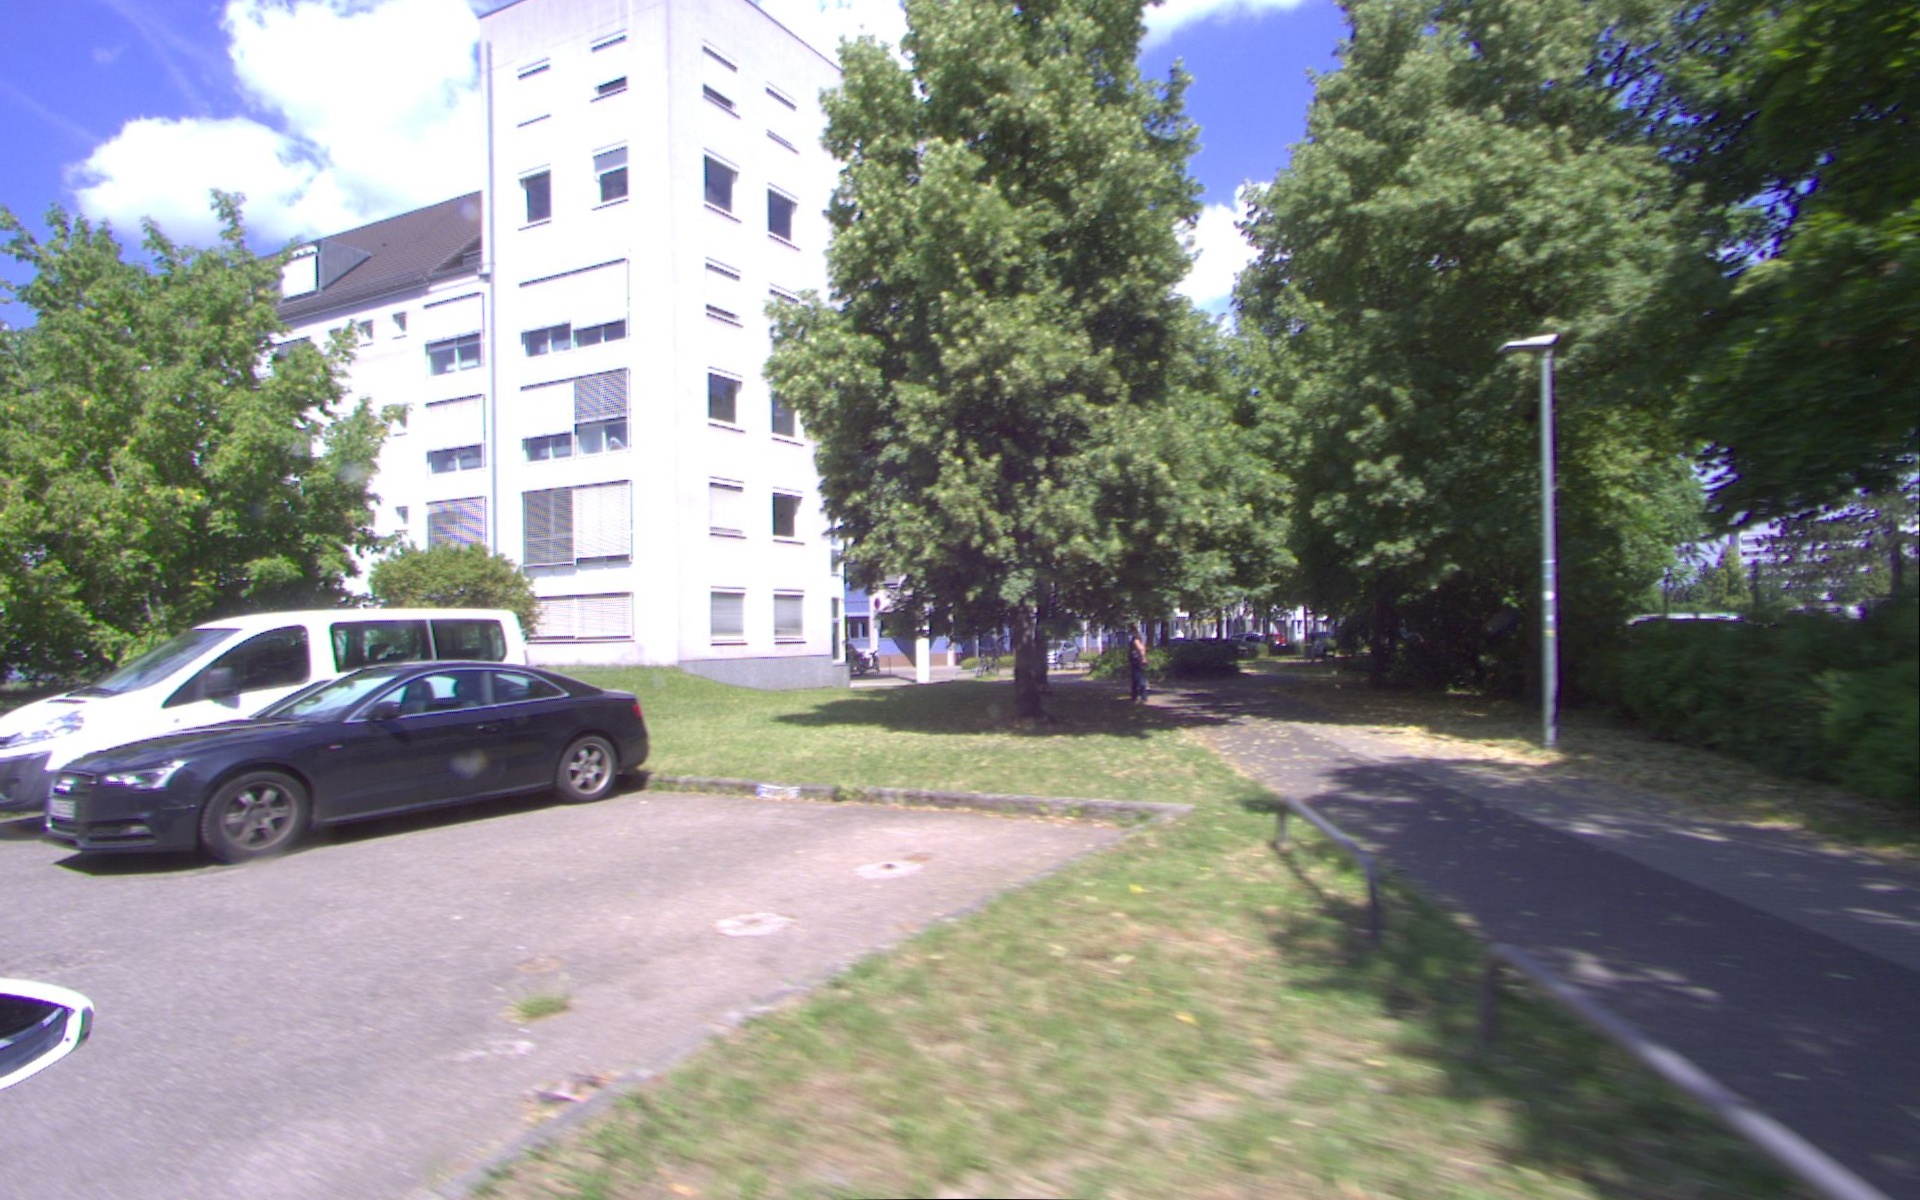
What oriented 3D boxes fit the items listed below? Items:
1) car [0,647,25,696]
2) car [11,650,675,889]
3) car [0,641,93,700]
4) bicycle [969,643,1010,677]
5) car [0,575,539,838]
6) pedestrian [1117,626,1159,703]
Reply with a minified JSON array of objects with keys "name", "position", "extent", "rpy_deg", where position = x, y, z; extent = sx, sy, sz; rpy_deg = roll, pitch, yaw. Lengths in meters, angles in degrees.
[{"name":"car","position":[-29.055,2.068,27.950],"extent":[1.778,1.408,3.982],"rpy_deg":[-1,-1,30]},{"name":"car","position":[-4.865,1.178,8.680],"extent":[1.807,1.369,4.603],"rpy_deg":[-1,-2,32]},{"name":"car","position":[-25.849,1.882,26.553],"extent":[1.778,1.497,3.982],"rpy_deg":[-1,-1,30]},{"name":"bicycle","position":[1.033,2.061,34.565],"extent":[0.592,1.098,1.931],"rpy_deg":[-1,-1,30]},{"name":"car","position":[-7.037,0.905,10.290],"extent":[1.972,2.039,4.751],"rpy_deg":[-2,-2,32]},{"name":"pedestrian","position":[3.764,1.352,21.186],"extent":[0.728,1.584,0.748],"rpy_deg":[-1,-1,22]}]
